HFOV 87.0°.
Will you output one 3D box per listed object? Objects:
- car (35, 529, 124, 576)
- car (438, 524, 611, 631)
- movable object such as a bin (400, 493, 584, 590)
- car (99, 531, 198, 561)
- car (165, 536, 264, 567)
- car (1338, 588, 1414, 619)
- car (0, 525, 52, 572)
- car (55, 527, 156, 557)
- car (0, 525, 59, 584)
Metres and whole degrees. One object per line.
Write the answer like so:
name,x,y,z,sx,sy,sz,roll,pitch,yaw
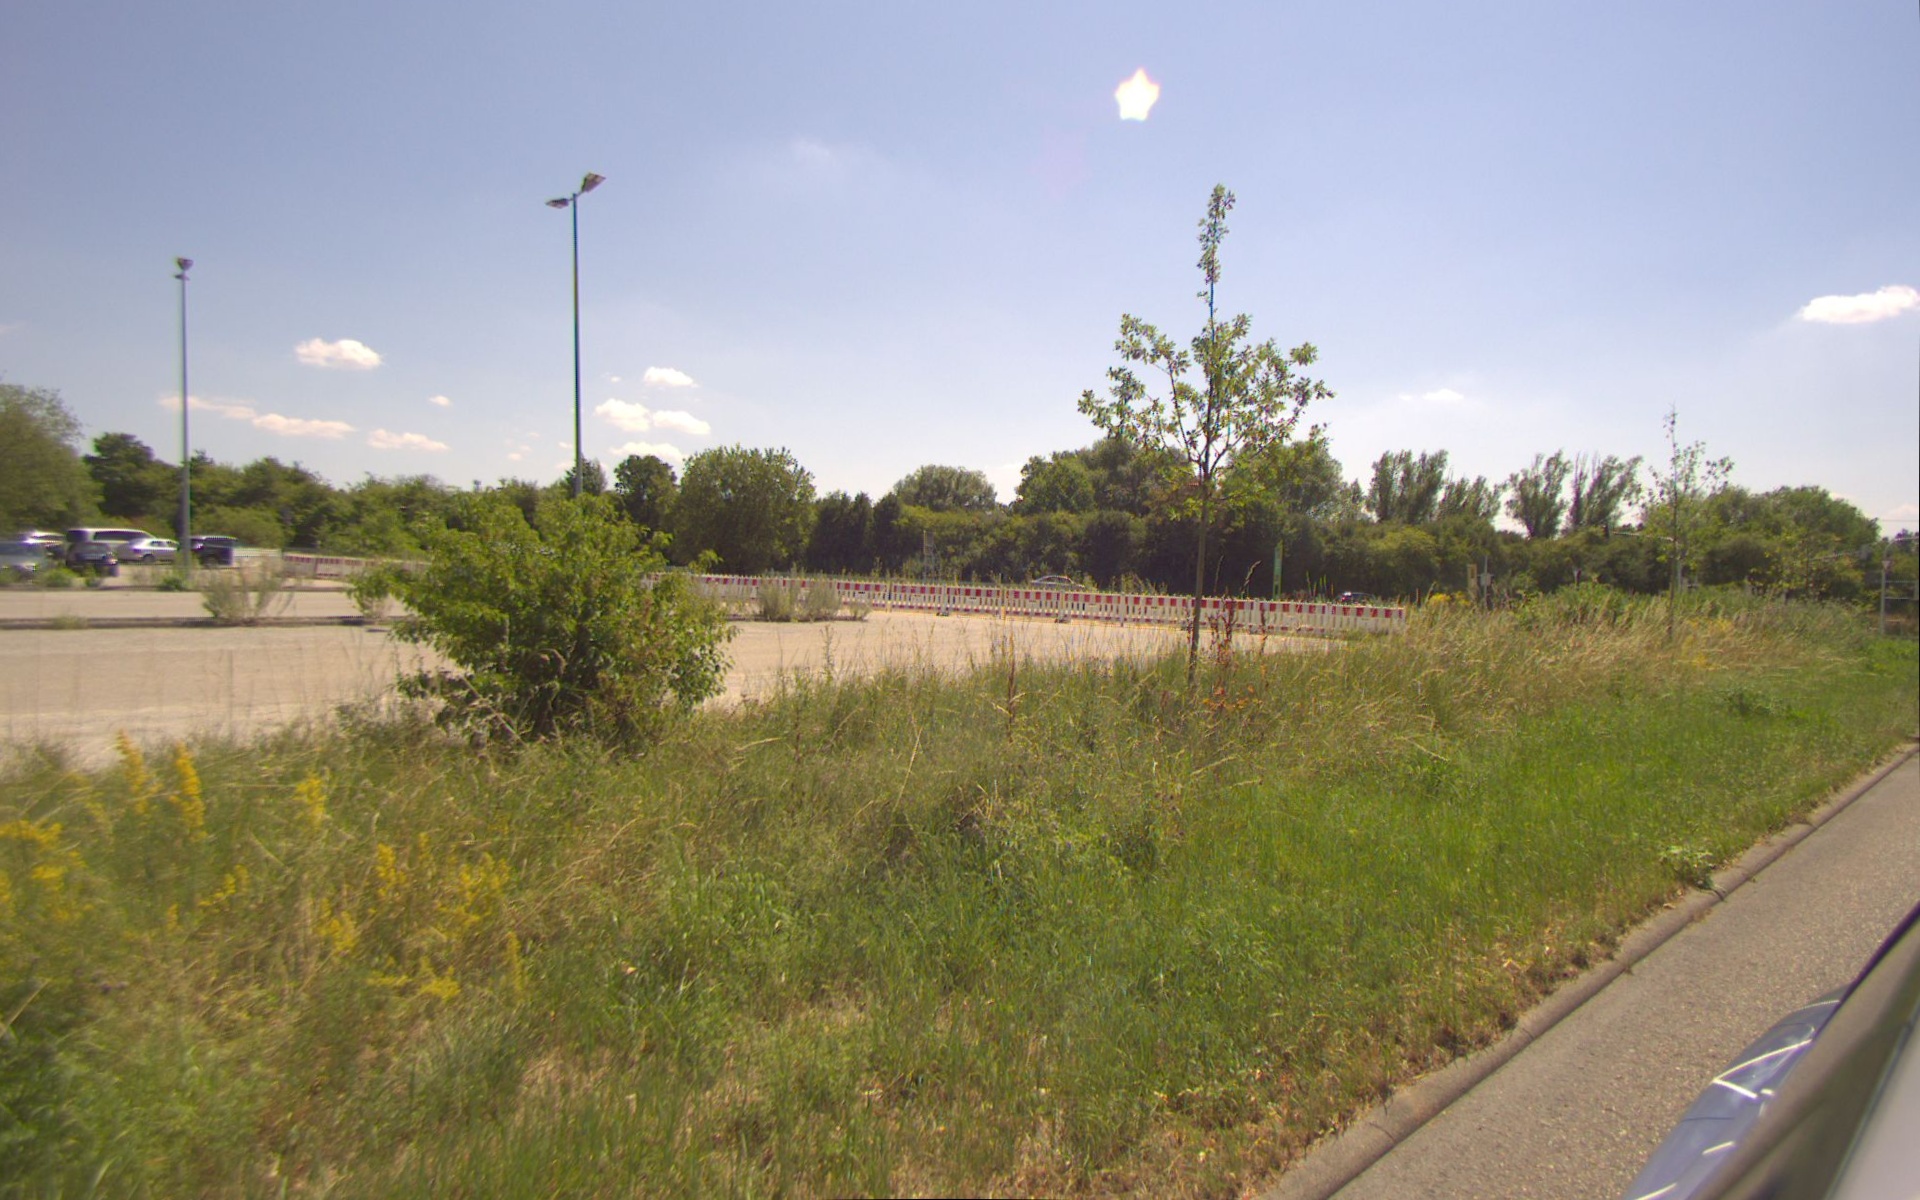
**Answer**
car,-36.462,-1.975,41.889,3.980,1.660,1.972,5,1,38
car,-9.027,-0.520,20.762,1.906,1.938,4.471,1,2,-42
movable object such as a bin,-23.006,-2.865,49.812,7.990,4.095,2.974,4,0,15
car,-44.886,-2.969,56.094,1.850,1.548,3.981,2,2,16
car,-39.746,-2.573,54.081,1.850,1.548,3.981,2,2,16
car,25.764,0.207,62.783,3.932,1.660,1.779,4,0,6
car,-37.666,-2.082,39.963,3.980,1.660,1.972,5,1,38
car,-47.536,-3.208,56.421,1.850,1.548,3.981,2,2,16
car,-29.652,-1.477,31.250,3.980,1.660,1.972,5,1,38
